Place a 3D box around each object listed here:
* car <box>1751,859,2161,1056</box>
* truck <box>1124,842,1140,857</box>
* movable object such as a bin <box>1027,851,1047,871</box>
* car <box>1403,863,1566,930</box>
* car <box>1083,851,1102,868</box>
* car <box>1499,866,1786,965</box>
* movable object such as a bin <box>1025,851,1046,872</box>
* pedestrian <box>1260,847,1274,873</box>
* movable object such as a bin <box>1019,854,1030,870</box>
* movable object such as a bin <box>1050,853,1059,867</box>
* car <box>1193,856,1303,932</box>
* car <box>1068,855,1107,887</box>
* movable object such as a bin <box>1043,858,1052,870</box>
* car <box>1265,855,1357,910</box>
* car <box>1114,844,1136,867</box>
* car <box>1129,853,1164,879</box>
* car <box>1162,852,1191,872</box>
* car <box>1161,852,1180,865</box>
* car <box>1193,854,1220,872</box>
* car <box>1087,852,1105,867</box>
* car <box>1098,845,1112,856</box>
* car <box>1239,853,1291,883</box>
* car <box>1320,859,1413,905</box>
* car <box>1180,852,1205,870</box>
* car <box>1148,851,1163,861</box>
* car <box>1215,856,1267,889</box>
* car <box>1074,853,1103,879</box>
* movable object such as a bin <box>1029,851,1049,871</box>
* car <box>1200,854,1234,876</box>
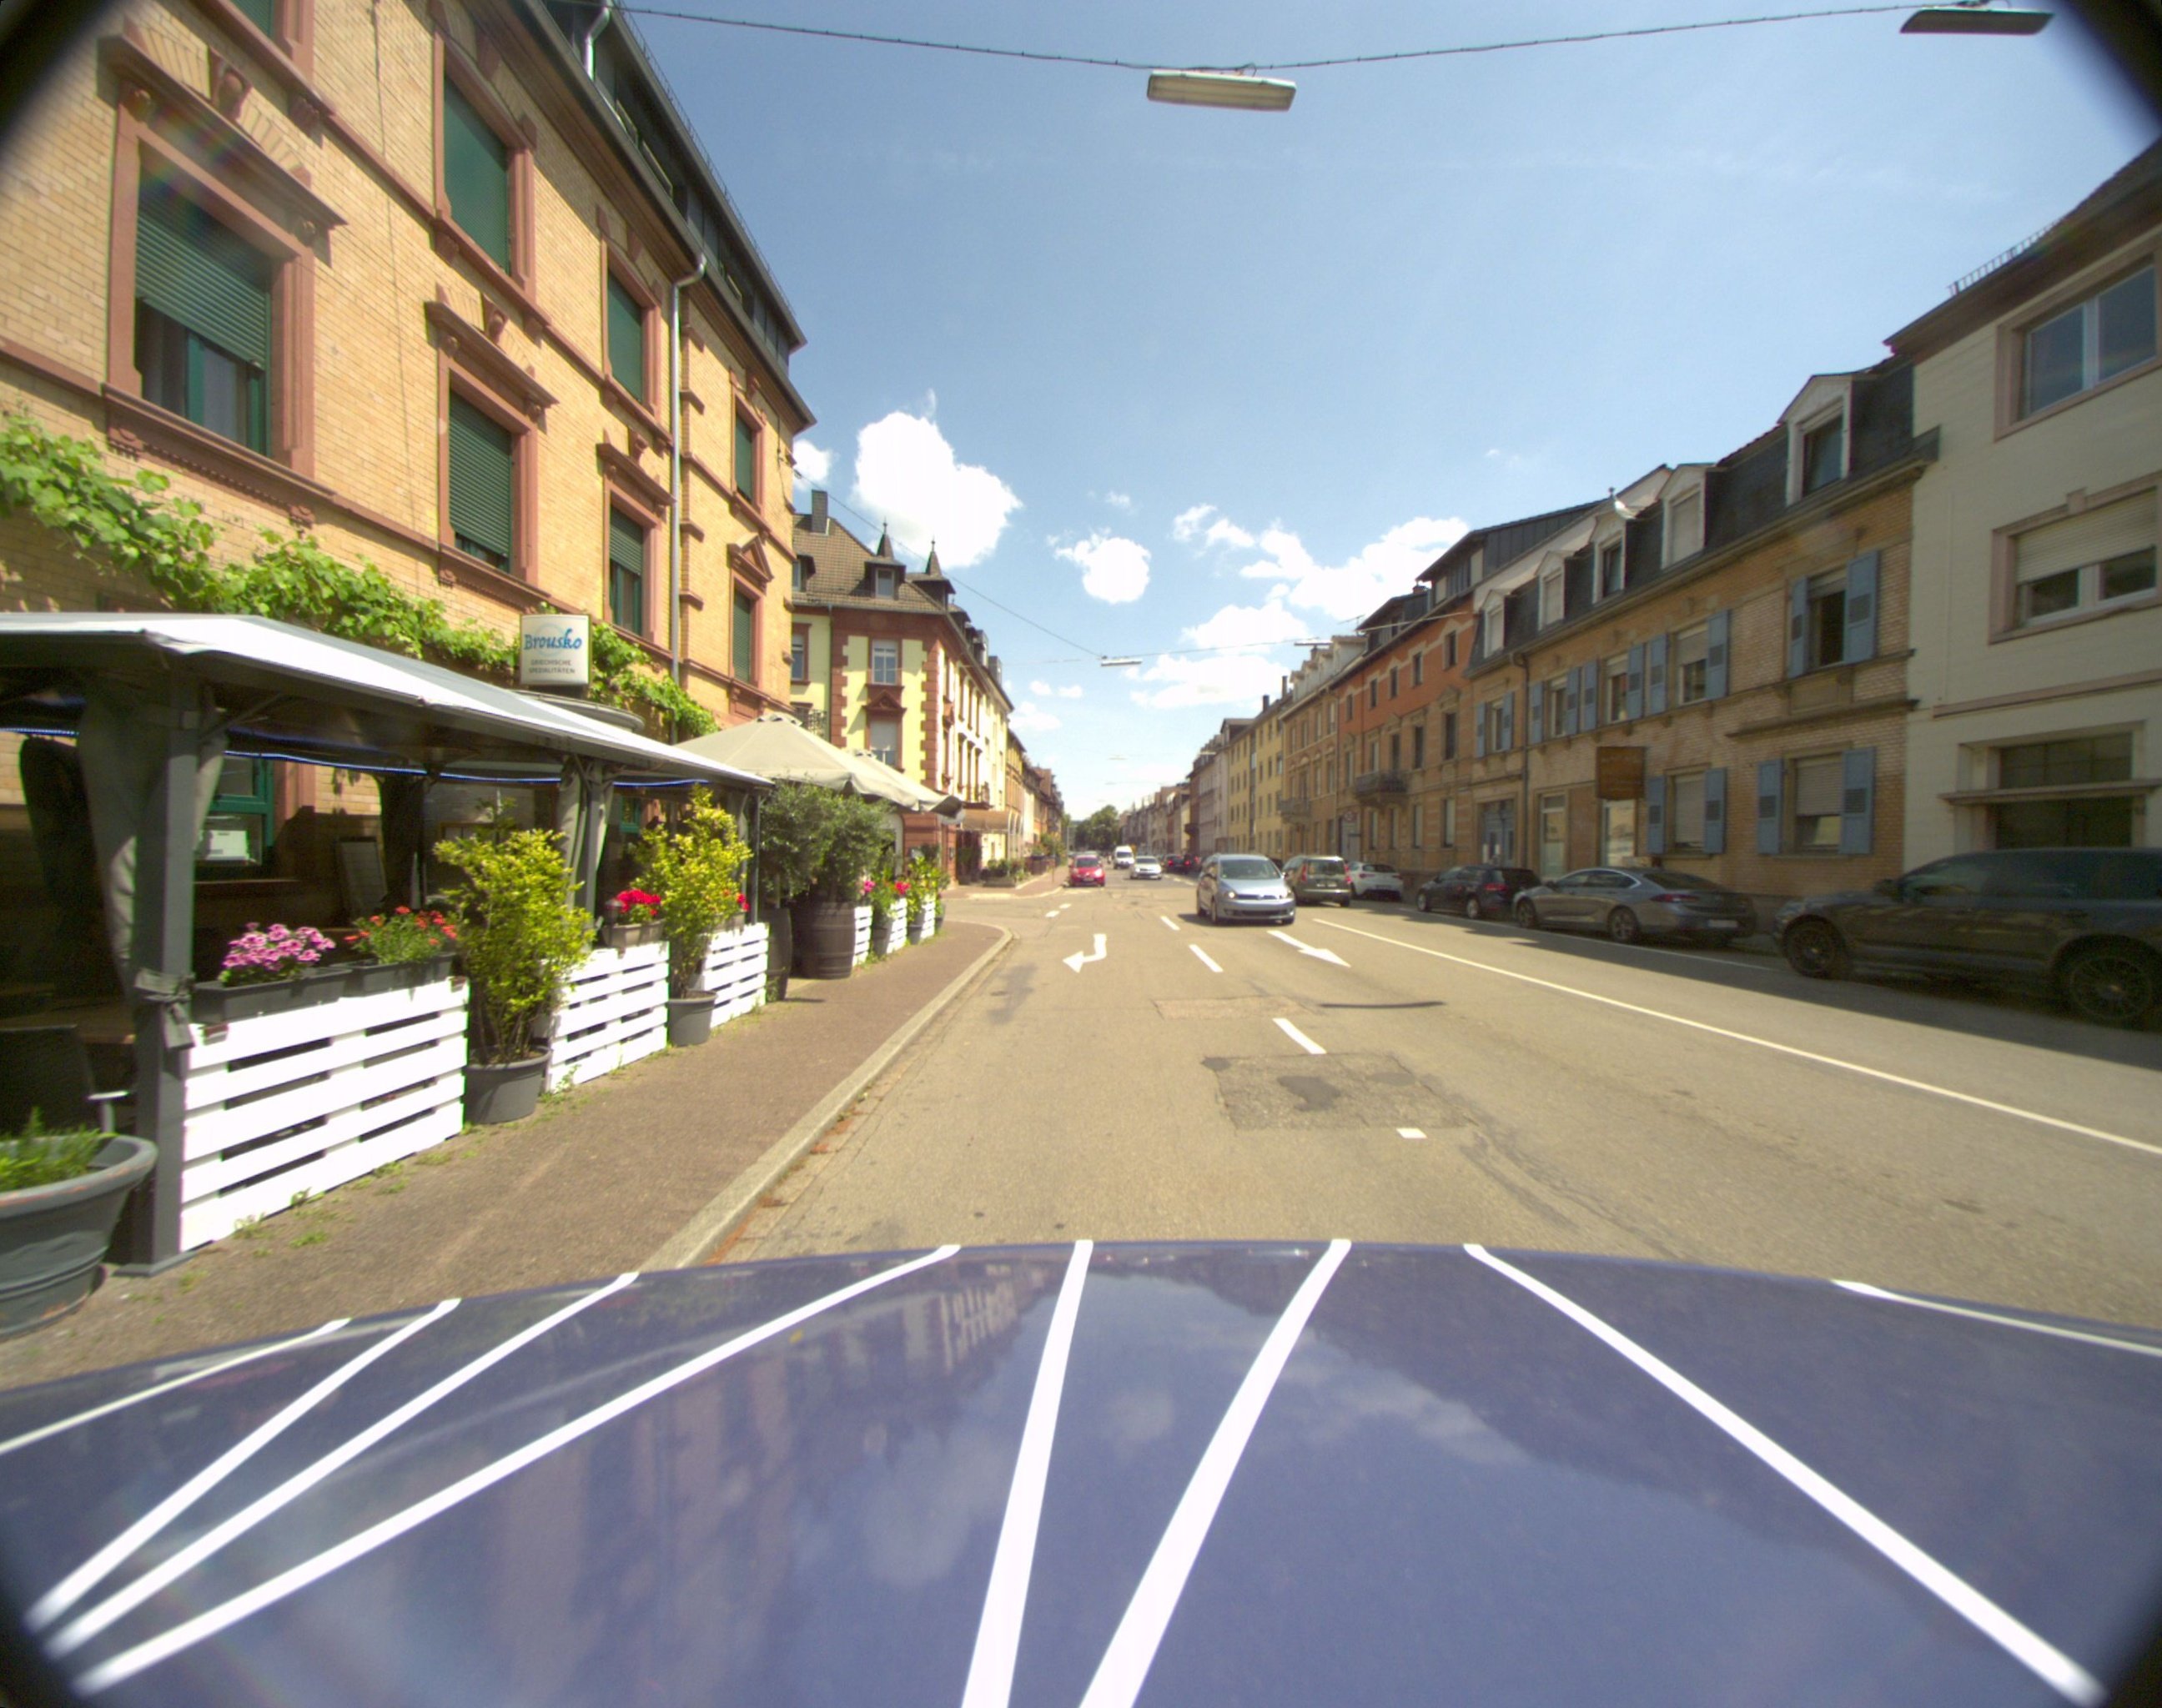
[{"bbox_3d":[10.258,0.933,8.162,1.889,1.631,4.817,2,0,1],"label":"car"},{"bbox_3d":[9.814,-0.901,146.735,2.323,2.725,8.067,1,0,0],"label":"truck"},{"bbox_3d":[-3.054,0.495,53.159,1.285,1.388,1.364,1,1,2],"label":"movable object such as a bin"},{"bbox_3d":[10.706,1.061,20.604,1.870,1.398,4.329,4,0,-3],"label":"car"},{"bbox_3d":[1.110,0.502,72.117,1.708,1.470,3.931,-2,0,0],"label":"car"},{"bbox_3d":[10.610,1.062,14.977,1.870,1.398,4.836,4,0,-2],"label":"car"},{"bbox_3d":[-3.063,0.529,51.743,1.285,1.388,1.413,1,1,2],"label":"movable object such as a bin"},{"bbox_3d":[12.718,0.419,52.028,0.804,1.746,0.876,1,1,9],"label":"pedestrian"},{"bbox_3d":[-4.170,0.572,55.869,0.723,1.161,0.747,1,1,0],"label":"movable object such as a bin"},{"bbox_3d":[-2.381,0.521,68.998,0.753,1.235,0.877,1,1,0],"label":"movable object such as a bin"},{"bbox_3d":[3.770,0.845,17.795,1.758,1.559,4.000,0,0,1],"label":"car"},{"bbox_3d":[0.285,0.835,38.817,1.762,1.470,3.782,-2,0,-2],"label":"car"},{"bbox_3d":[-2.549,0.736,57.410,0.626,0.923,0.612,1,1,0],"label":"movable object such as a bin"},{"bbox_3d":[7.325,0.848,24.601,1.706,1.565,4.312,1,0,1],"label":"car"},{"bbox_3d":[4.304,0.129,75.017,1.905,2.261,5.671,0,0,0],"label":"car"},{"bbox_3d":[4.016,0.699,47.162,1.905,1.489,4.487,0,0,1],"label":"car"},{"bbox_3d":[7.627,0.616,60.902,1.764,1.486,4.245,1,0,0],"label":"car"},{"bbox_3d":[11.364,0.584,96.726,1.749,1.403,4.103,4,0,-2],"label":"car"},{"bbox_3d":[10.956,0.788,66.461,1.749,1.403,3.915,4,0,2],"label":"car"},{"bbox_3d":[1.496,0.514,78.153,1.708,1.470,3.931,-2,0,0],"label":"car"},{"bbox_3d":[3.202,-0.456,101.266,1.904,1.489,4.487,0,0,1],"label":"car"},{"bbox_3d":[11.014,0.803,45.800,1.870,1.542,4.499,4,0,-1],"label":"car"},{"bbox_3d":[10.807,1.008,29.128,1.869,1.418,4.330,4,0,0],"label":"car"},{"bbox_3d":[10.730,0.685,72.970,1.746,1.579,3.958,4,1,16],"label":"car"},{"bbox_3d":[11.178,0.256,114.436,1.665,1.403,4.103,4,0,-2],"label":"car"},{"bbox_3d":[7.742,0.874,37.104,1.706,1.469,4.133,1,0,1],"label":"car"},{"bbox_3d":[0.502,0.724,49.418,1.761,1.542,4.066,-2,0,2],"label":"car"},{"bbox_3d":[-2.999,0.462,54.528,1.285,1.402,1.305,1,1,2],"label":"movable object such as a bin"},{"bbox_3d":[10.949,0.842,61.523,1.869,1.542,4.313,4,0,0],"label":"car"}]
